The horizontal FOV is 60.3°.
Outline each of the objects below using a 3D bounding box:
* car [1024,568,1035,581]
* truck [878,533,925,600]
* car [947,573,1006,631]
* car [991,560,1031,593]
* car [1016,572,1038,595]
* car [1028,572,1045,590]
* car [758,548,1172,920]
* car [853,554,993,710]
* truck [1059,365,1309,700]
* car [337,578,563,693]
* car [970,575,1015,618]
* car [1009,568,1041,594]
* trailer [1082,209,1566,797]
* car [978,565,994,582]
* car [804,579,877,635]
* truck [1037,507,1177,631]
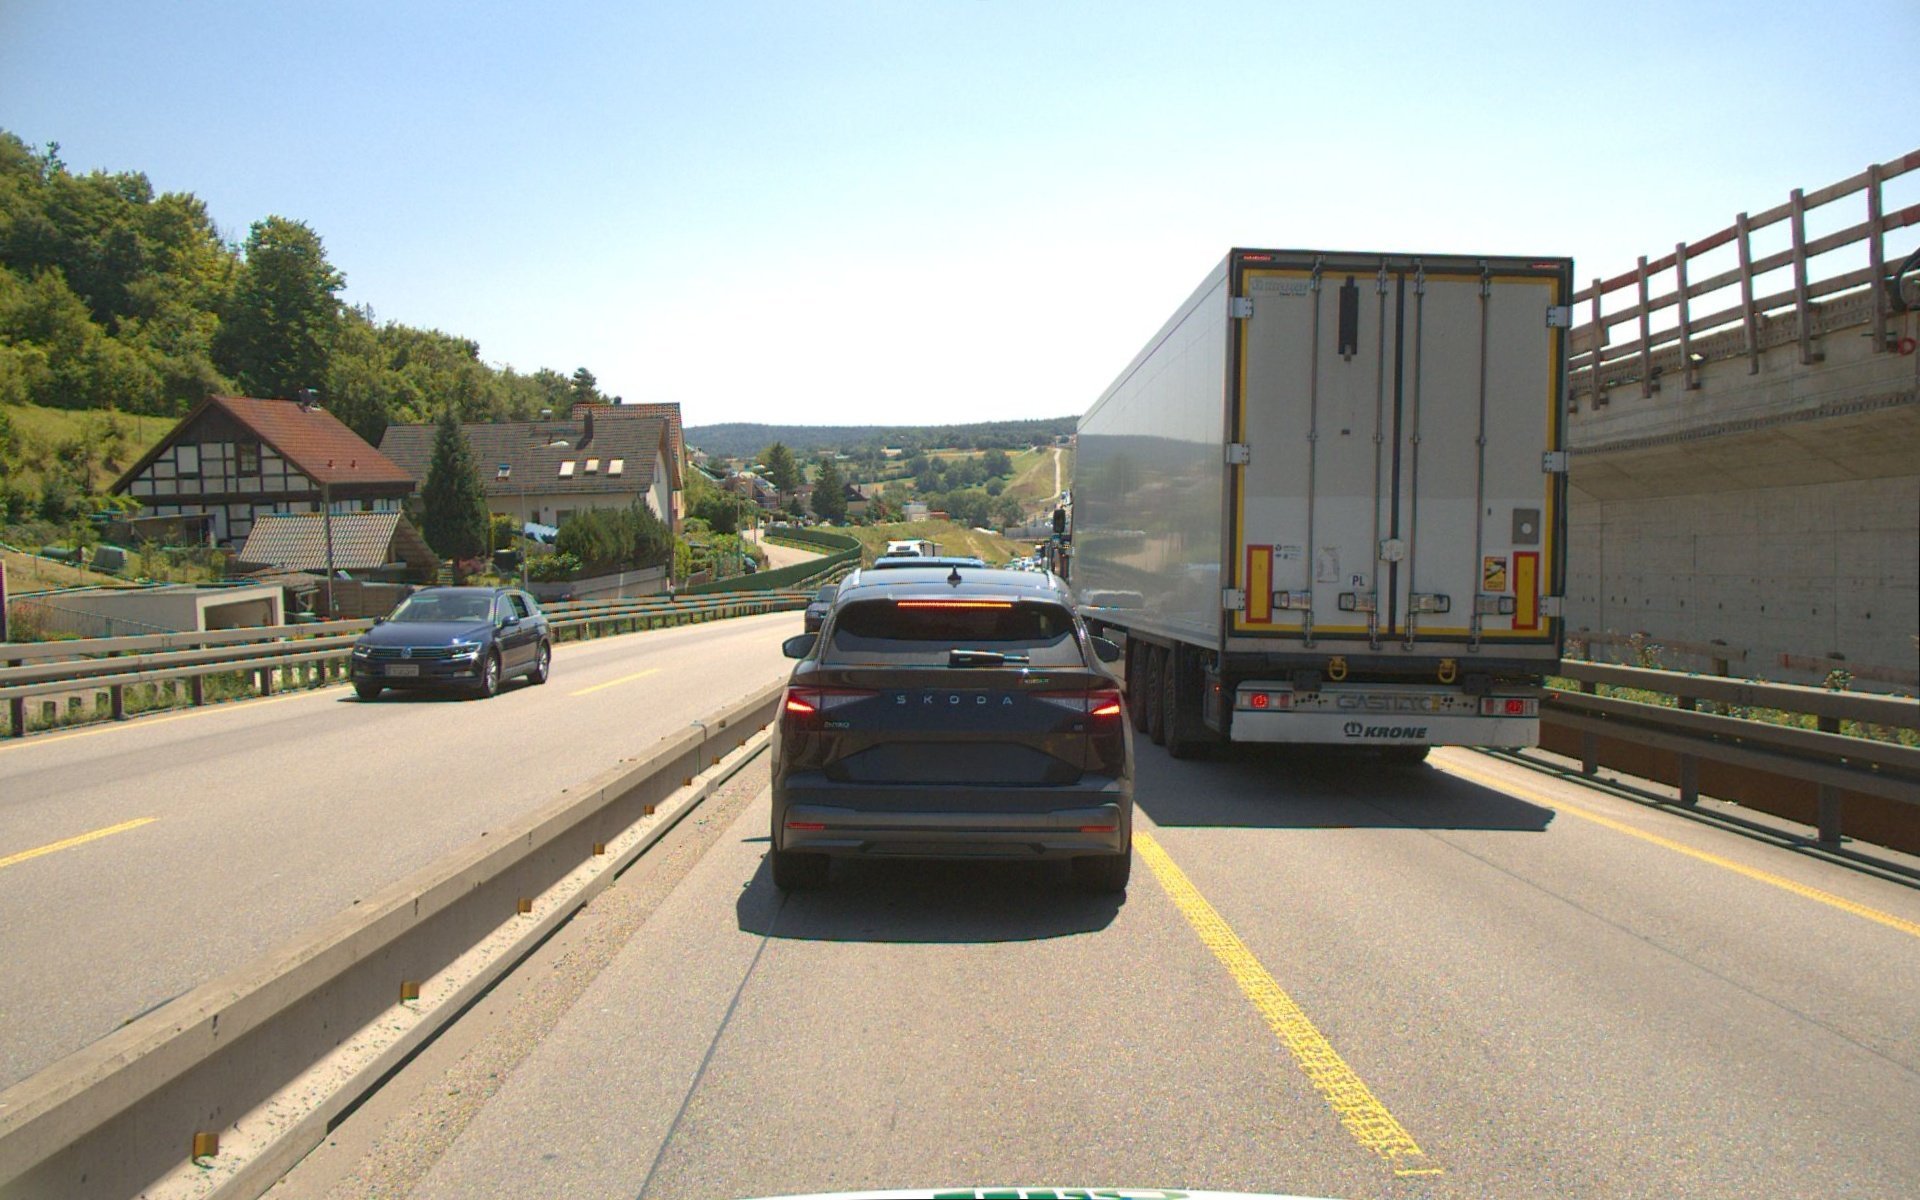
[{"bbox_3d":[10.666,-3.916,253.992,1.665,1.758,3.838,1,0,4],"label":"car"},{"bbox_3d":[-3.867,-2.218,110.471,2.695,4.358,4.959,1,1,2],"label":"truck"},{"bbox_3d":[0.463,0.018,50.688,1.672,1.650,4.000,1,1,-1],"label":"car"},{"bbox_3d":[2.644,-1.193,86.384,1.953,1.613,3.836,1,0,0],"label":"car"},{"bbox_3d":[5.436,-1.359,134.184,1.665,1.758,3.838,1,0,4],"label":"car"},{"bbox_3d":[7.956,-1.938,171.375,1.665,1.758,3.838,1,0,4],"label":"car"},{"bbox_3d":[-0.114,0.606,9.230,1.806,1.614,3.904,1,0,-4],"label":"car"},{"bbox_3d":[-0.585,0.358,22.595,1.673,1.914,3.997,1,1,-4],"label":"car"},{"bbox_3d":[3.017,-0.810,24.514,2.462,4.095,8.236,1,0,-1],"label":"truck"},{"bbox_3d":[-7.096,0.465,23.532,1.804,1.443,4.686,-1,0,-1],"label":"car"},{"bbox_3d":[1.279,-0.182,67.484,1.672,1.650,4.000,1,1,-1],"label":"car"},{"bbox_3d":[4.239,-1.216,108.011,1.953,1.613,3.836,1,0,0],"label":"car"},{"bbox_3d":[3.055,-0.667,17.703,2.480,4.199,11.546,1,0,-1],"label":"trailer"},{"bbox_3d":[2.846,-2.928,184.366,1.666,1.758,3.836,1,0,0],"label":"car"},{"bbox_3d":[-3.192,0.156,44.941,1.683,1.433,4.000,-1,1,0],"label":"car"},{"bbox_3d":[4.173,-0.773,50.133,3.129,3.247,12.808,1,0,0],"label":"truck"}]
